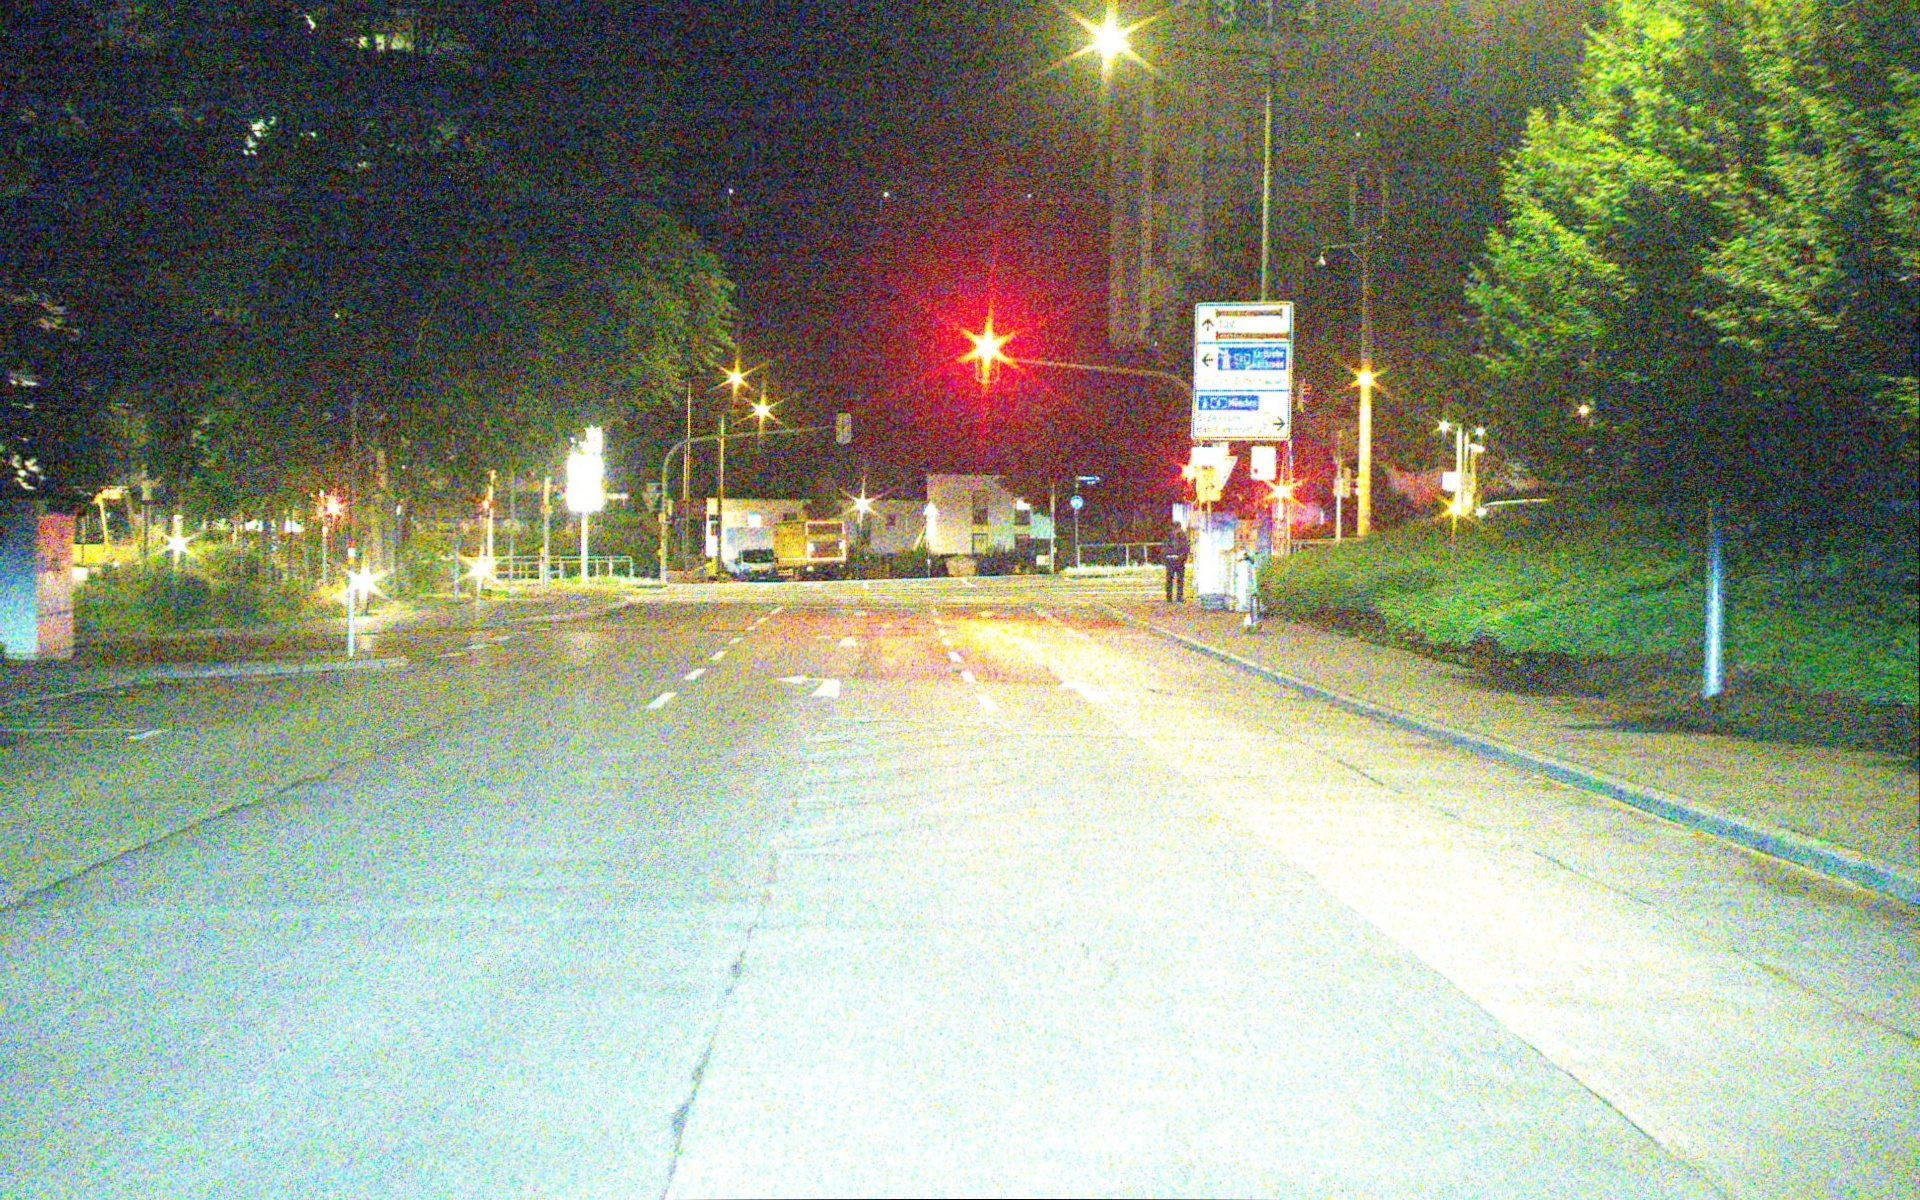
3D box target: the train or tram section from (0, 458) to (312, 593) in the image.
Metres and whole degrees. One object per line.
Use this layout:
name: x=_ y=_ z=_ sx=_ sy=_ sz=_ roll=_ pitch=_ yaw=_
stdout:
train or tram section: x=-29.015 y=-2.129 z=101.877 sx=19.177 sy=3.810 sz=2.923 roll=-1 pitch=1 yaw=5

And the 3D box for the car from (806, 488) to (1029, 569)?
car: x=-2.528 y=-4.198 z=202.782 sx=12.380 sy=4.693 sz=4.811 roll=0 pitch=1 yaw=-14

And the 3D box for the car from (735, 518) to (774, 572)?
car: x=-11.376 y=-3.053 z=189.969 sx=1.993 sy=2.963 sz=4.001 roll=0 pitch=1 yaw=-6

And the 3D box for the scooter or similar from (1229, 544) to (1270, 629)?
scooter or similar: x=4.434 y=-0.216 z=52.721 sx=0.494 sy=1.257 sz=1.320 roll=-2 pitch=1 yaw=1

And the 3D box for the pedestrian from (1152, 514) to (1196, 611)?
pedestrian: x=4.370 y=-0.775 z=70.256 sx=0.737 sy=1.975 sz=0.626 roll=0 pitch=1 yaw=-17
